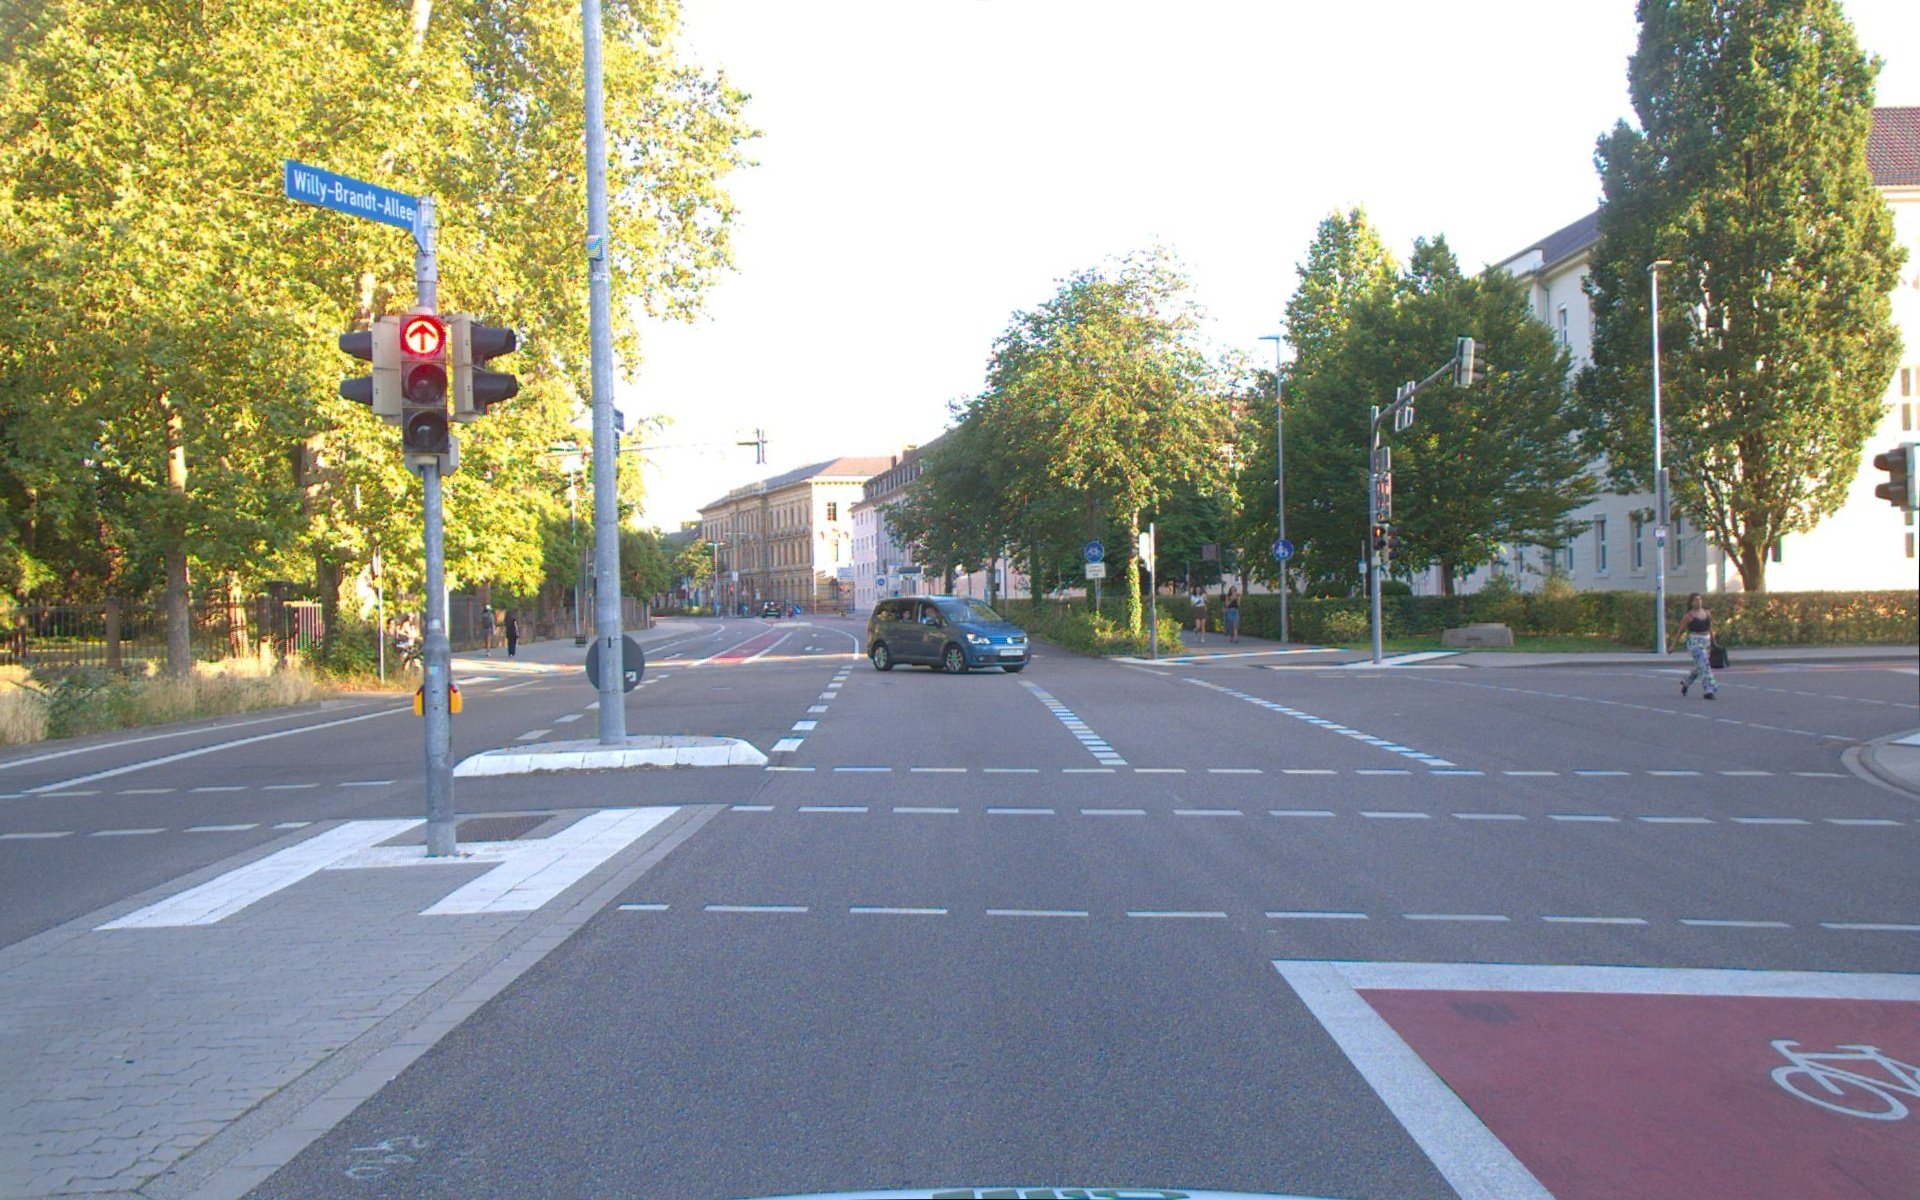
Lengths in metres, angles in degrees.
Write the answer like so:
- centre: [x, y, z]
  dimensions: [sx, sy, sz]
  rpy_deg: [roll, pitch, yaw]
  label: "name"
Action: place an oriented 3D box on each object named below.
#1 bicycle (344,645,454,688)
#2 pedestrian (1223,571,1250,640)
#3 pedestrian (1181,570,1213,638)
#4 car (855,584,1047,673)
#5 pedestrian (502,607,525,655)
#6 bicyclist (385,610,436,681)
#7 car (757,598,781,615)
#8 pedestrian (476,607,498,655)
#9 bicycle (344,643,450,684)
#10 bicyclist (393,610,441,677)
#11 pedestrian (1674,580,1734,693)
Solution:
- centre: [-13.559, 1.597, 40.027]
  dimensions: [2.380, 0.940, 0.775]
  rpy_deg: [-1, 0, 0]
  label: "bicycle"
- centre: [8.233, 0.167, 49.274]
  dimensions: [0.622, 2.049, 0.720]
  rpy_deg: [0, 0, -5]
  label: "pedestrian"
- centre: [7.150, 0.123, 49.946]
  dimensions: [0.852, 2.049, 0.722]
  rpy_deg: [0, 0, -1]
  label: "pedestrian"
- centre: [-0.252, 0.600, 35.417]
  dimensions: [1.838, 1.750, 4.233]
  rpy_deg: [-1, 0, -40]
  label: "car"
- centre: [-15.274, 1.052, 56.552]
  dimensions: [0.587, 1.601, 0.646]
  rpy_deg: [-1, 0, -1]
  label: "pedestrian"
- centre: [-13.291, 1.093, 40.025]
  dimensions: [0.938, 1.659, 0.752]
  rpy_deg: [-1, 0, 0]
  label: "bicyclist"
- centre: [-19.569, 0.636, 169.385]
  dimensions: [1.789, 1.616, 3.984]
  rpy_deg: [-2, 0, -15]
  label: "car"
- centre: [-16.163, 1.056, 56.535]
  dimensions: [0.524, 1.624, 0.590]
  rpy_deg: [-1, 0, -1]
  label: "pedestrian"
- centre: [-14.216, 1.609, 41.810]
  dimensions: [2.380, 0.940, 0.775]
  rpy_deg: [-1, 0, 0]
  label: "bicycle"
- centre: [-13.727, 1.098, 41.813]
  dimensions: [0.938, 1.659, 0.752]
  rpy_deg: [-1, 0, 0]
  label: "bicyclist"
- centre: [11.081, 0.532, 24.643]
  dimensions: [0.587, 1.664, 0.691]
  rpy_deg: [0, 0, 1]
  label: "pedestrian"
